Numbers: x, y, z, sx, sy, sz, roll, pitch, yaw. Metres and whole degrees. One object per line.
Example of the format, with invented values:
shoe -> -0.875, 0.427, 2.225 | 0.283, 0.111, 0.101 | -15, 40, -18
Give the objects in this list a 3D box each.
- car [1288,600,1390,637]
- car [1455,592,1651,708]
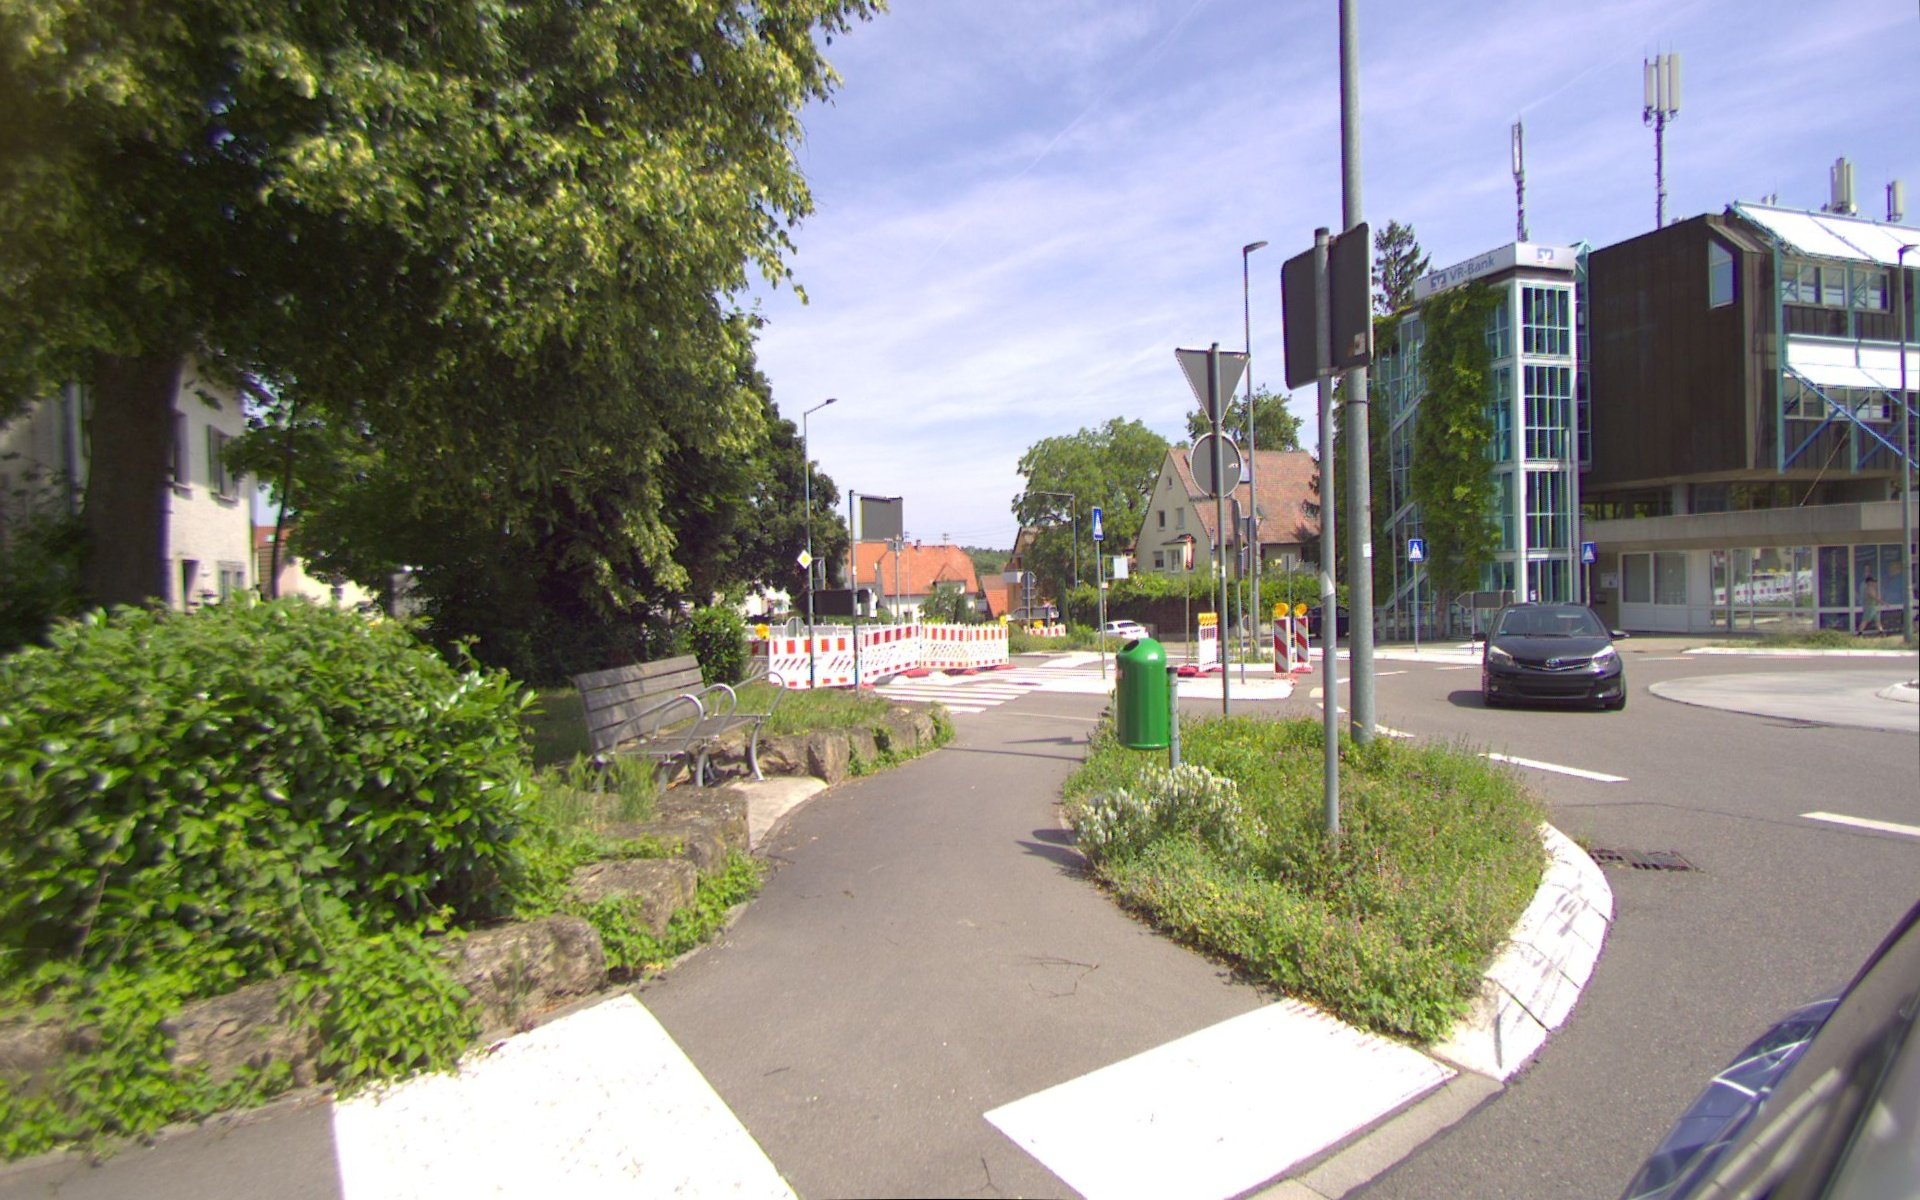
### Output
car -> 17.934, 0.871, 47.892 | 4.139, 1.455, 1.867 | -3, 0, -16
car -> 8.702, 0.660, 15.244 | 1.705, 1.475, 4.400 | -1, -1, 20
